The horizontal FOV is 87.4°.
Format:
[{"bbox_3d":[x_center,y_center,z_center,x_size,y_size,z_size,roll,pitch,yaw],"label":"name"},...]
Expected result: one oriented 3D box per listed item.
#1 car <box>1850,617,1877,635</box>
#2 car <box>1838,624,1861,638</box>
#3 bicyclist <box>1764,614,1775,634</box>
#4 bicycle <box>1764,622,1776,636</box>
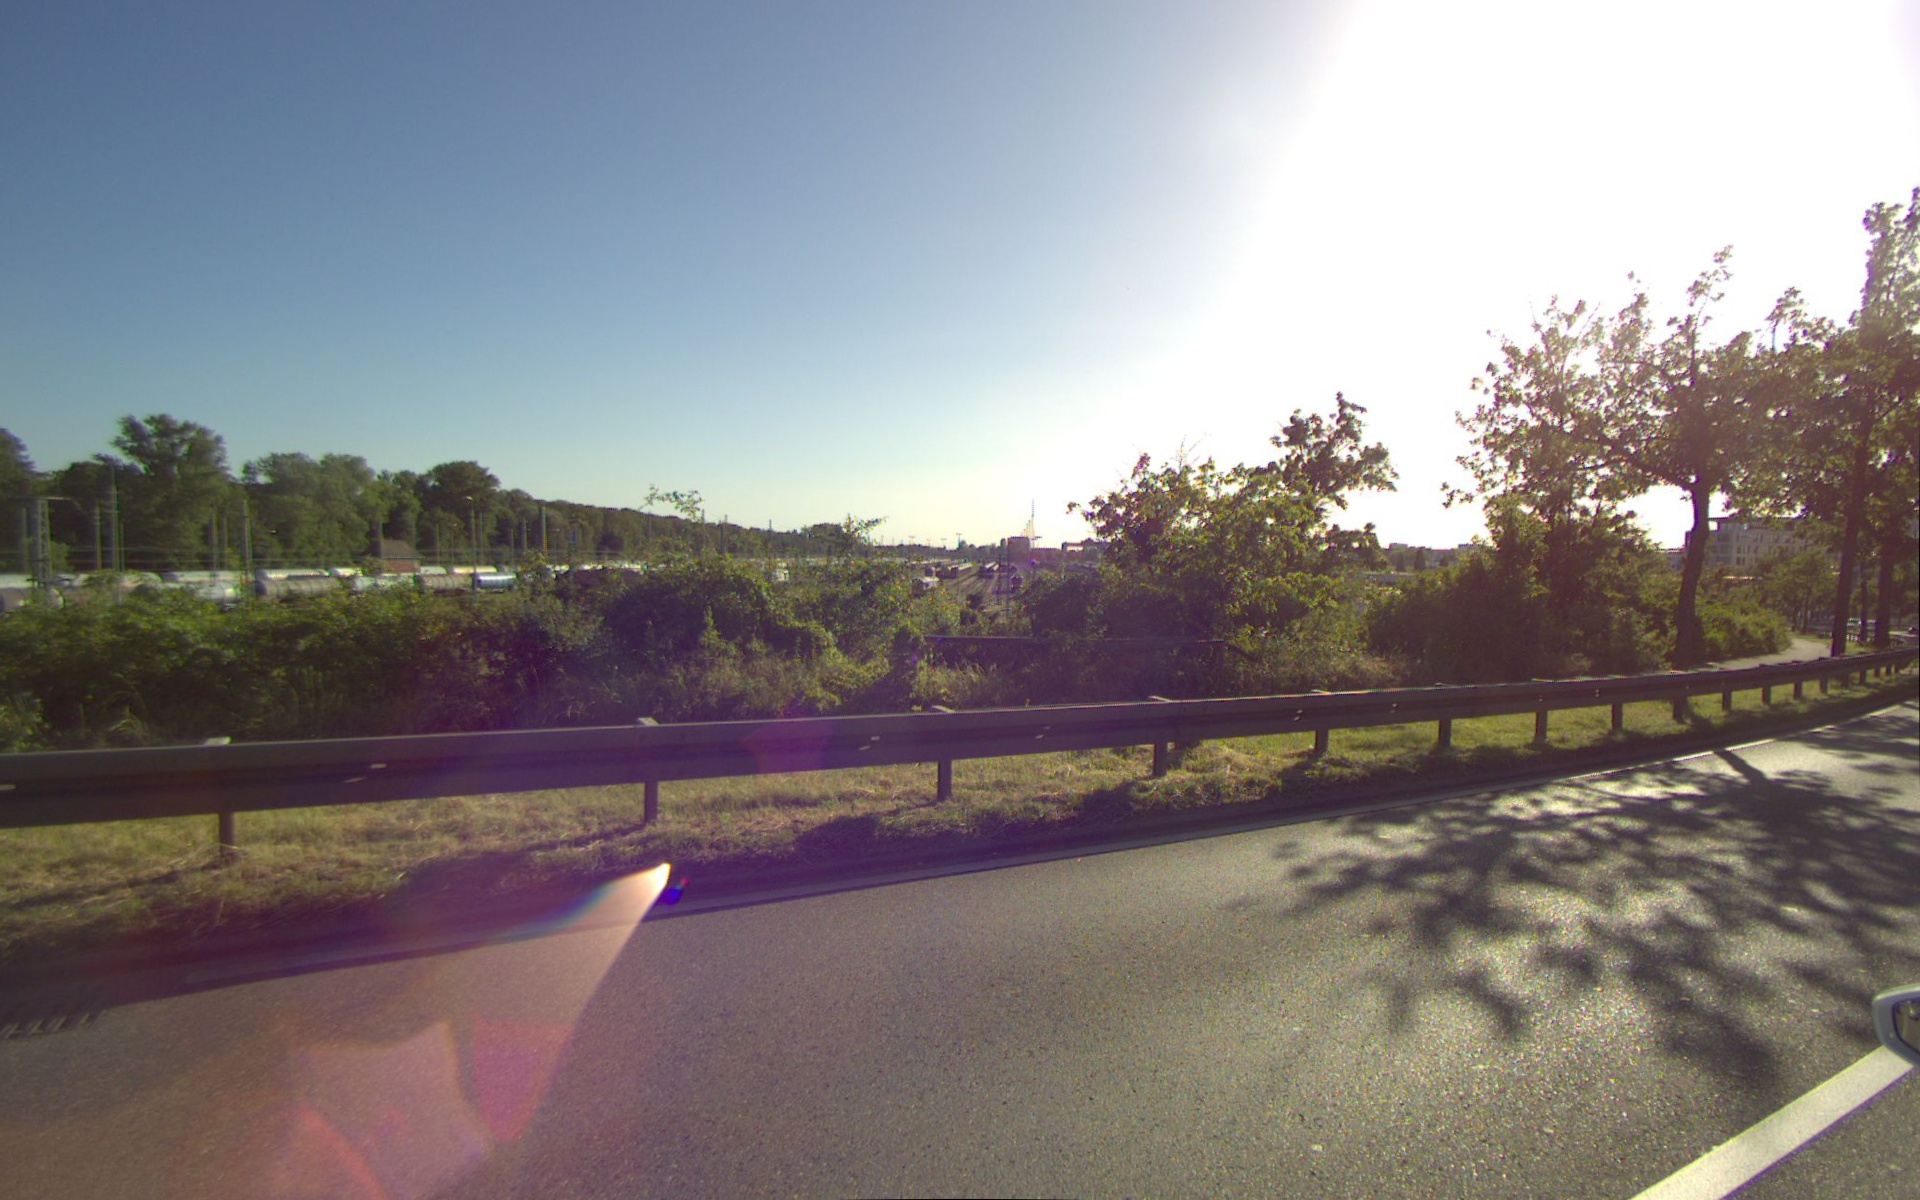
[{"bbox_3d":[84.468,2.391,93.961,1.788,1.575,4.119,2,1,41],"label":"car"},{"bbox_3d":[109.483,3.799,123.660,1.826,1.511,4.697,2,1,38],"label":"car"},{"bbox_3d":[67.472,1.994,83.690,0.643,1.645,0.871,2,1,38],"label":"bicyclist"},{"bbox_3d":[67.348,2.380,83.532,0.652,1.110,2.099,2,1,38],"label":"bicycle"}]
